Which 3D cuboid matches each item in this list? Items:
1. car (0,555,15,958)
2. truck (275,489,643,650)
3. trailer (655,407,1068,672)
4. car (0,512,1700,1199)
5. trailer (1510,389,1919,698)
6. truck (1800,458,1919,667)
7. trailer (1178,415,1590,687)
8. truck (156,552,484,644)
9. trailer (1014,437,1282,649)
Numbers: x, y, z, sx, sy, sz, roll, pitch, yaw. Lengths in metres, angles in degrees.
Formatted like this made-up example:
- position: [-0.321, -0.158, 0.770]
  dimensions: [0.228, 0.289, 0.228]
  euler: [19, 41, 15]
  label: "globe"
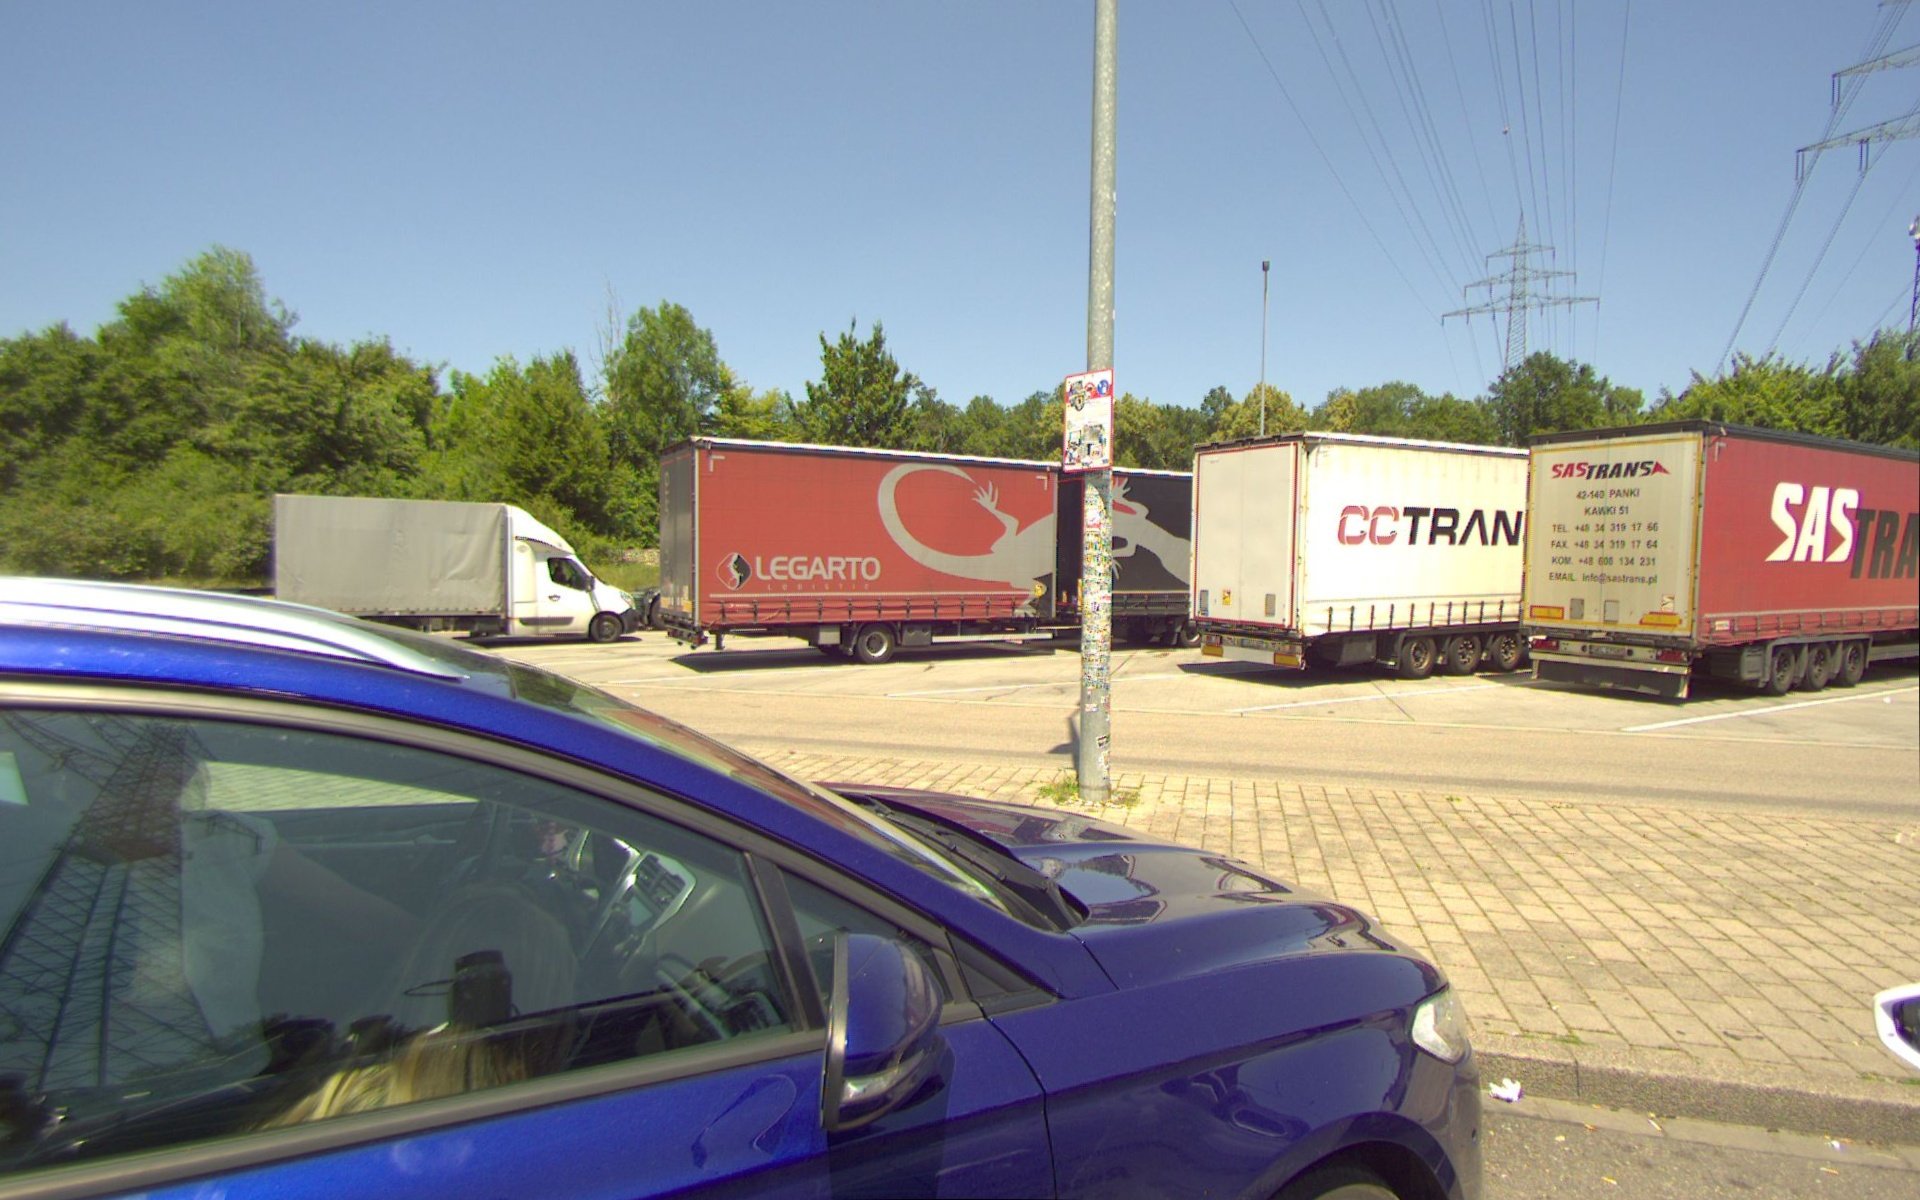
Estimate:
- position: [-4.347, 0.525, 2.195]
  dimensions: [3.077, 1.378, 1.334]
  euler: [1, 0, -30]
  label: "car"
- position: [-11.106, -0.593, 22.795]
  dimensions: [7.171, 3.194, 2.160]
  euler: [0, 1, -30]
  label: "truck"
- position: [-1.813, -1.020, 20.304]
  dimensions: [7.963, 4.510, 2.648]
  euler: [0, 0, -31]
  label: "trailer"
- position: [-0.967, 0.656, 1.475]
  dimensions: [4.362, 1.437, 1.731]
  euler: [1, 0, -30]
  label: "car"
- position: [15.282, -0.758, 18.450]
  dimensions: [13.046, 4.276, 2.786]
  euler: [0, 0, -31]
  label: "trailer"
- position: [21.464, -0.733, 22.086]
  dimensions: [5.824, 4.189, 2.792]
  euler: [0, 0, -30]
  label: "truck"
- position: [8.120, -0.761, 18.825]
  dimensions: [8.189, 4.208, 2.741]
  euler: [0, 1, -30]
  label: "trailer"
- position: [-15.355, -0.033, 24.609]
  dimensions: [6.538, 2.040, 1.984]
  euler: [0, 0, -31]
  label: "truck"
- position: [4.557, -1.208, 24.100]
  dimensions: [6.076, 4.505, 2.665]
  euler: [0, 0, -30]
  label: "trailer"
